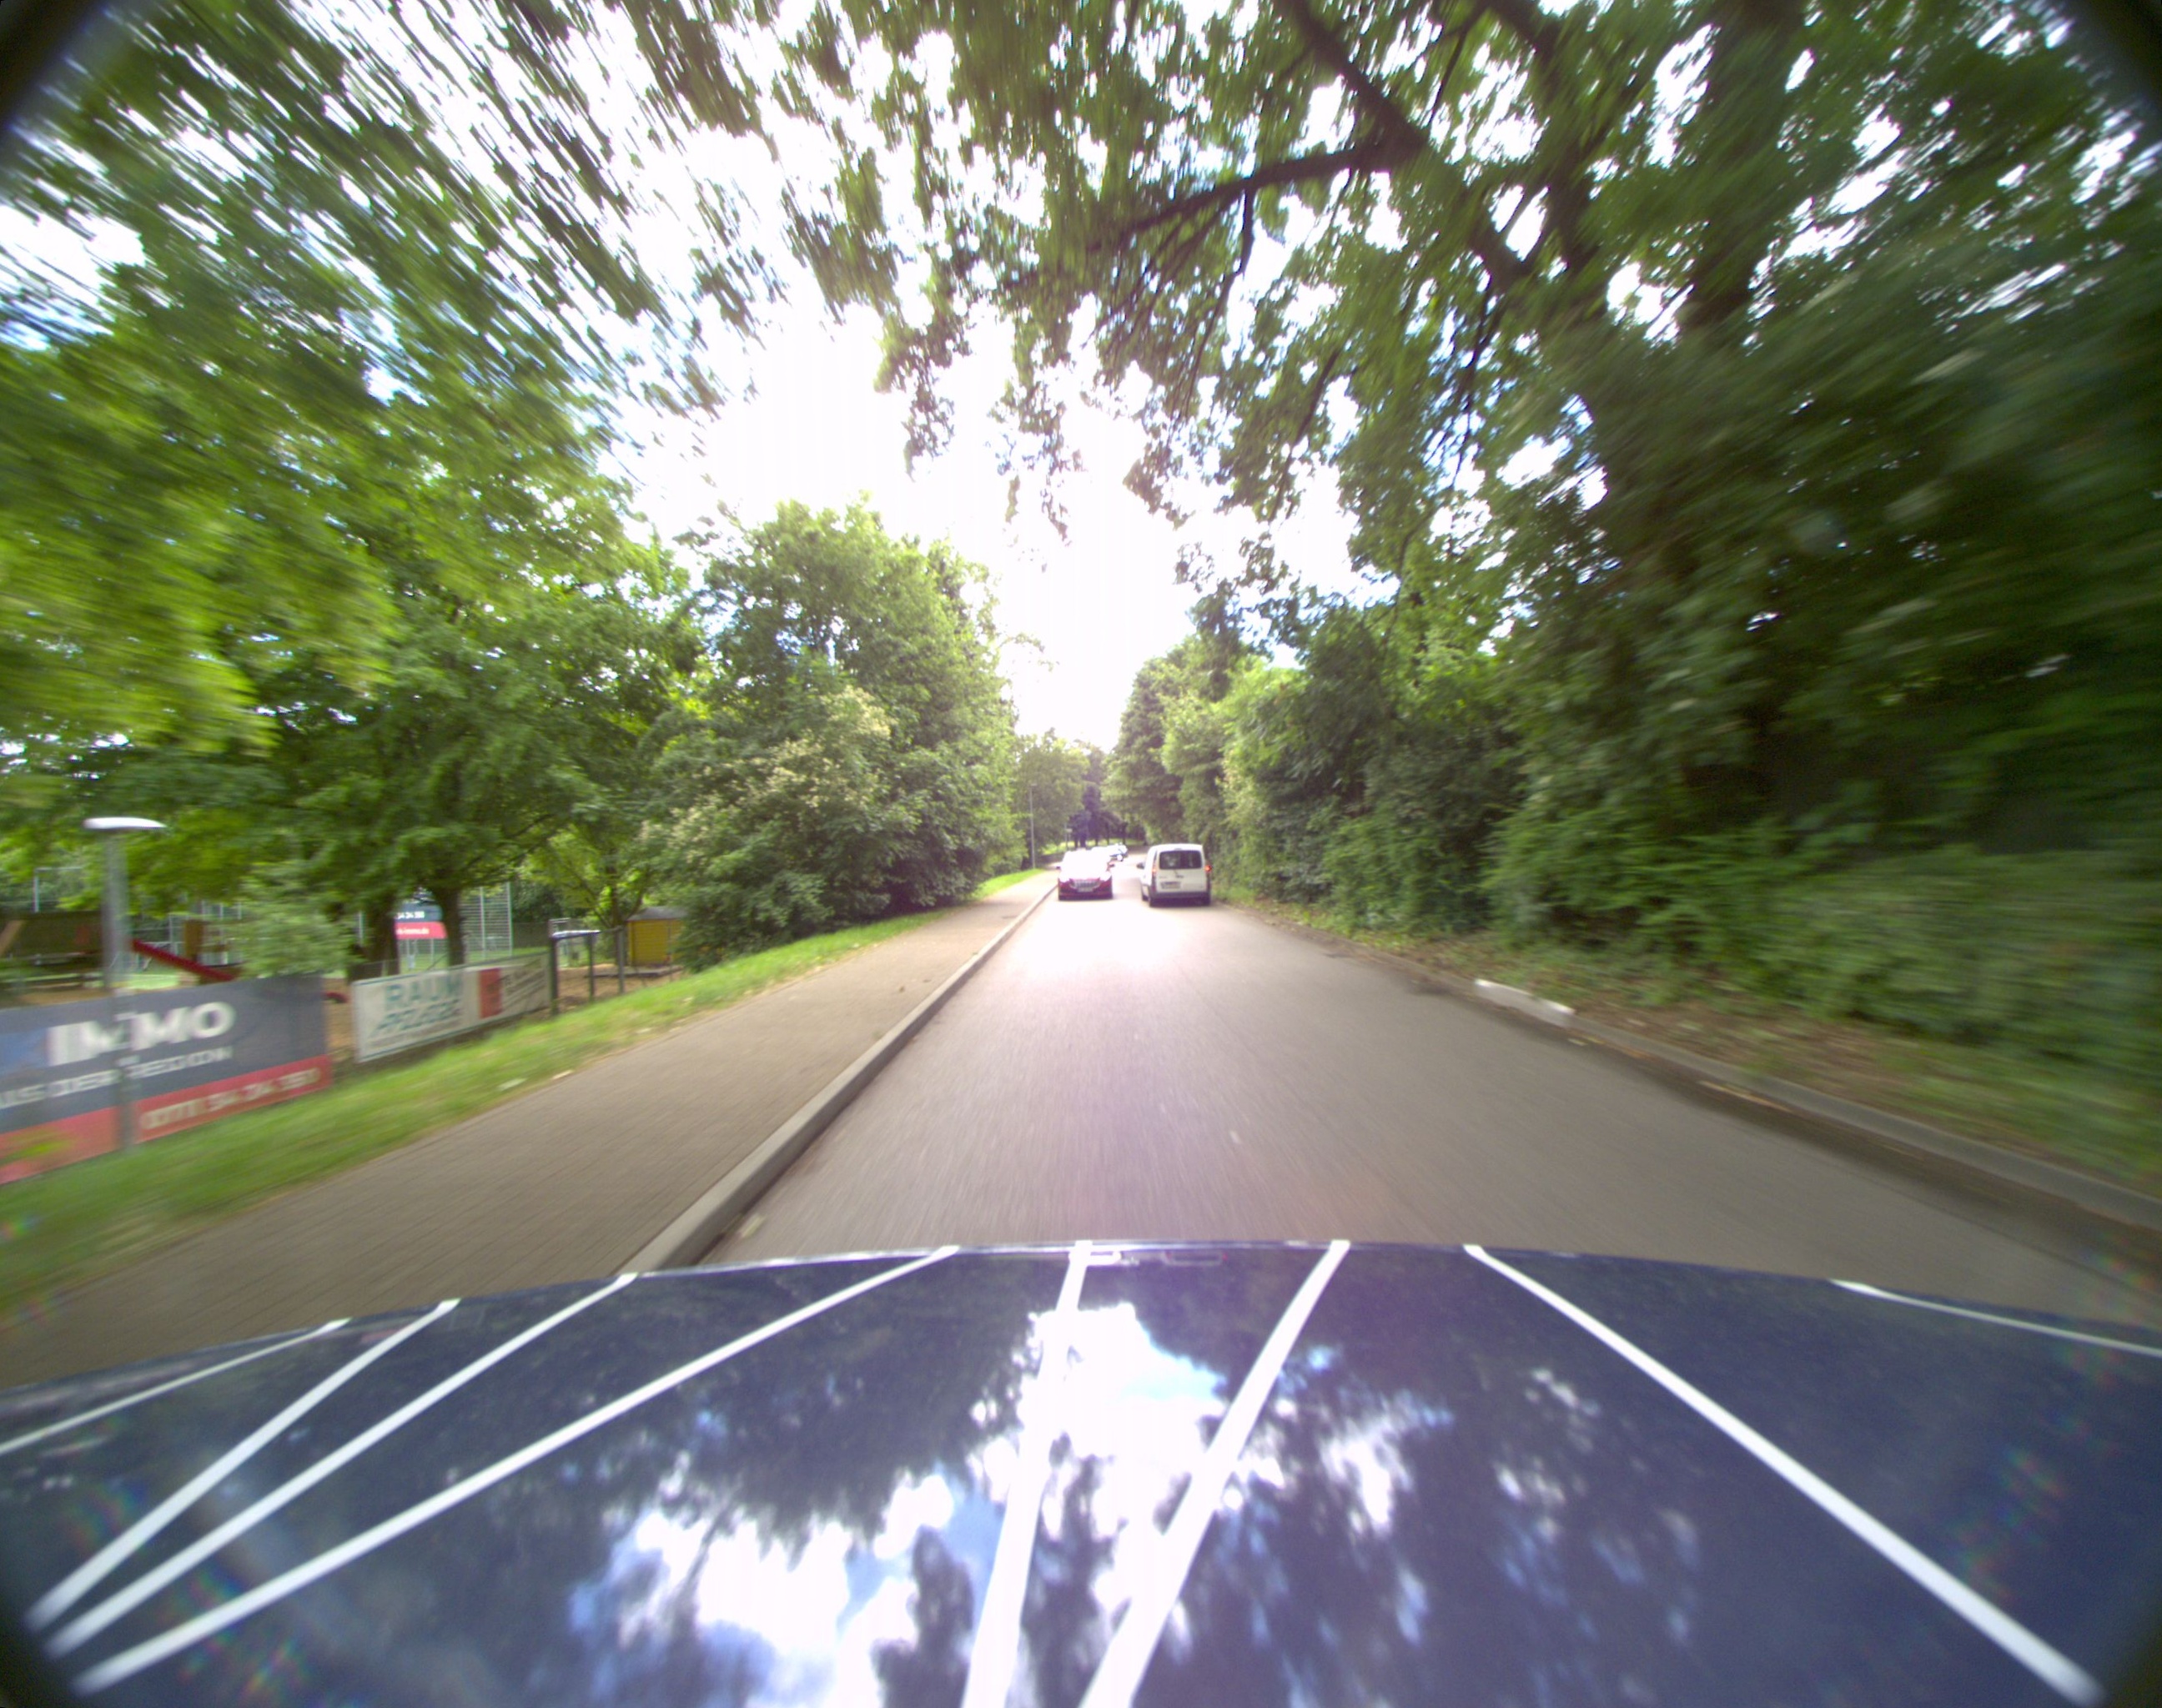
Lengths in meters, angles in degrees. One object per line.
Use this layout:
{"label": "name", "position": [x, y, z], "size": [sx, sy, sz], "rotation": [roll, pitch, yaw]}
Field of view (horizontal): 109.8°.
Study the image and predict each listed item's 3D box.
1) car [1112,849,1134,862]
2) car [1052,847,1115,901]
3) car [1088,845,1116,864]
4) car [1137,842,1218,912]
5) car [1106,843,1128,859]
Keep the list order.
{"label": "car", "position": [5.366, 0.168, 96.189], "size": [1.996, 1.521, 4.003], "rotation": [-1, 1, 13]}
{"label": "car", "position": [0.171, 0.641, 27.130], "size": [1.816, 1.718, 4.001], "rotation": [0, 2, 6]}
{"label": "car", "position": [1.811, 0.023, 64.331], "size": [1.997, 1.521, 4.001], "rotation": [-1, 1, 6]}
{"label": "car", "position": [2.849, 0.605, 23.296], "size": [1.878, 1.903, 4.430], "rotation": [-1, 1, 0]}
{"label": "car", "position": [3.799, -0.327, 79.625], "size": [1.997, 1.521, 4.001], "rotation": [-1, 1, 6]}
